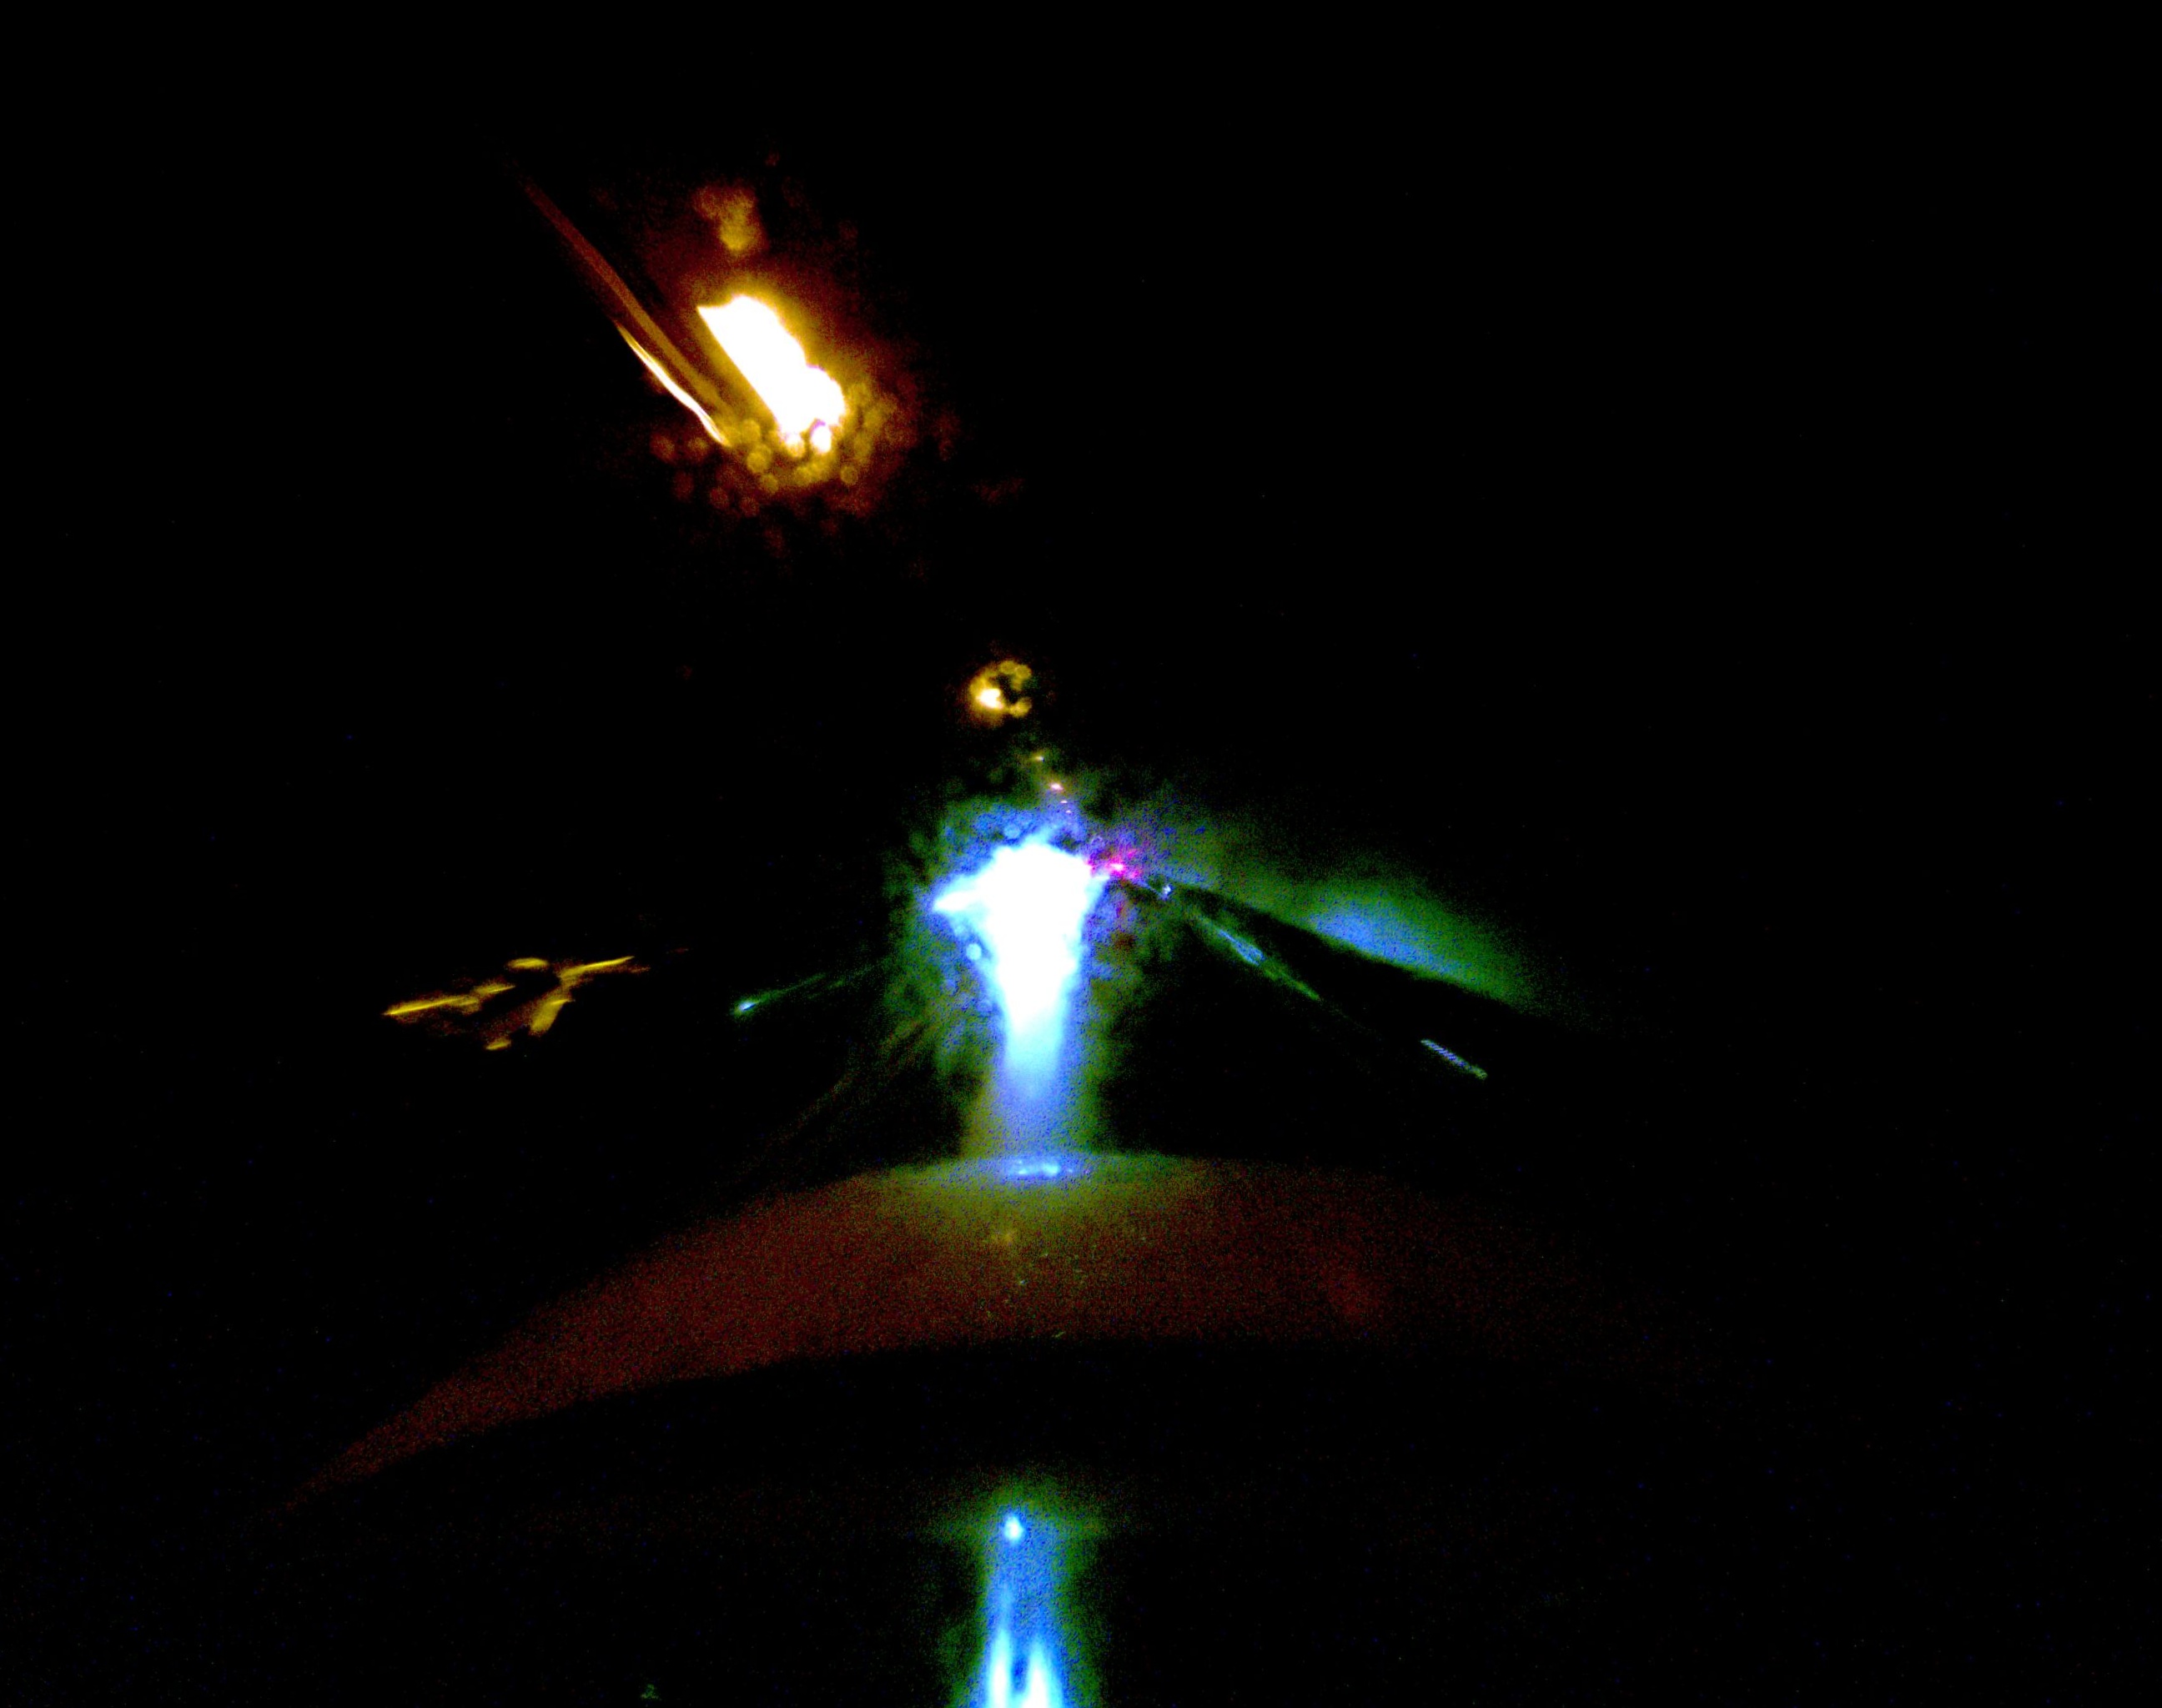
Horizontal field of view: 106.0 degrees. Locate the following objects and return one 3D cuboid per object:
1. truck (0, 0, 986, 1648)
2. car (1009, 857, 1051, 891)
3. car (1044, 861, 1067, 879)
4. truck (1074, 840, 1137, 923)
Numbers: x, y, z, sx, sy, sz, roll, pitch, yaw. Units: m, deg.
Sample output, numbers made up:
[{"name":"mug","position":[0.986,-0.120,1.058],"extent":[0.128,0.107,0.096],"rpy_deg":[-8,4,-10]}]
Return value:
[{"name":"truck","position":[-3.188,-0.554,5.481],"extent":[2.604,4.208,15.149],"rpy_deg":[-2,-1,2]},{"name":"car","position":[-2.448,0.933,39.838],"extent":[1.654,1.490,3.964],"rpy_deg":[-3,0,1]},{"name":"car","position":[-2.354,1.458,75.344],"extent":[1.806,1.482,4.202],"rpy_deg":[-3,0,1]},{"name":"truck","position":[1.036,1.017,33.822],"extent":[2.253,3.011,7.418],"rpy_deg":[-2,0,2]}]
